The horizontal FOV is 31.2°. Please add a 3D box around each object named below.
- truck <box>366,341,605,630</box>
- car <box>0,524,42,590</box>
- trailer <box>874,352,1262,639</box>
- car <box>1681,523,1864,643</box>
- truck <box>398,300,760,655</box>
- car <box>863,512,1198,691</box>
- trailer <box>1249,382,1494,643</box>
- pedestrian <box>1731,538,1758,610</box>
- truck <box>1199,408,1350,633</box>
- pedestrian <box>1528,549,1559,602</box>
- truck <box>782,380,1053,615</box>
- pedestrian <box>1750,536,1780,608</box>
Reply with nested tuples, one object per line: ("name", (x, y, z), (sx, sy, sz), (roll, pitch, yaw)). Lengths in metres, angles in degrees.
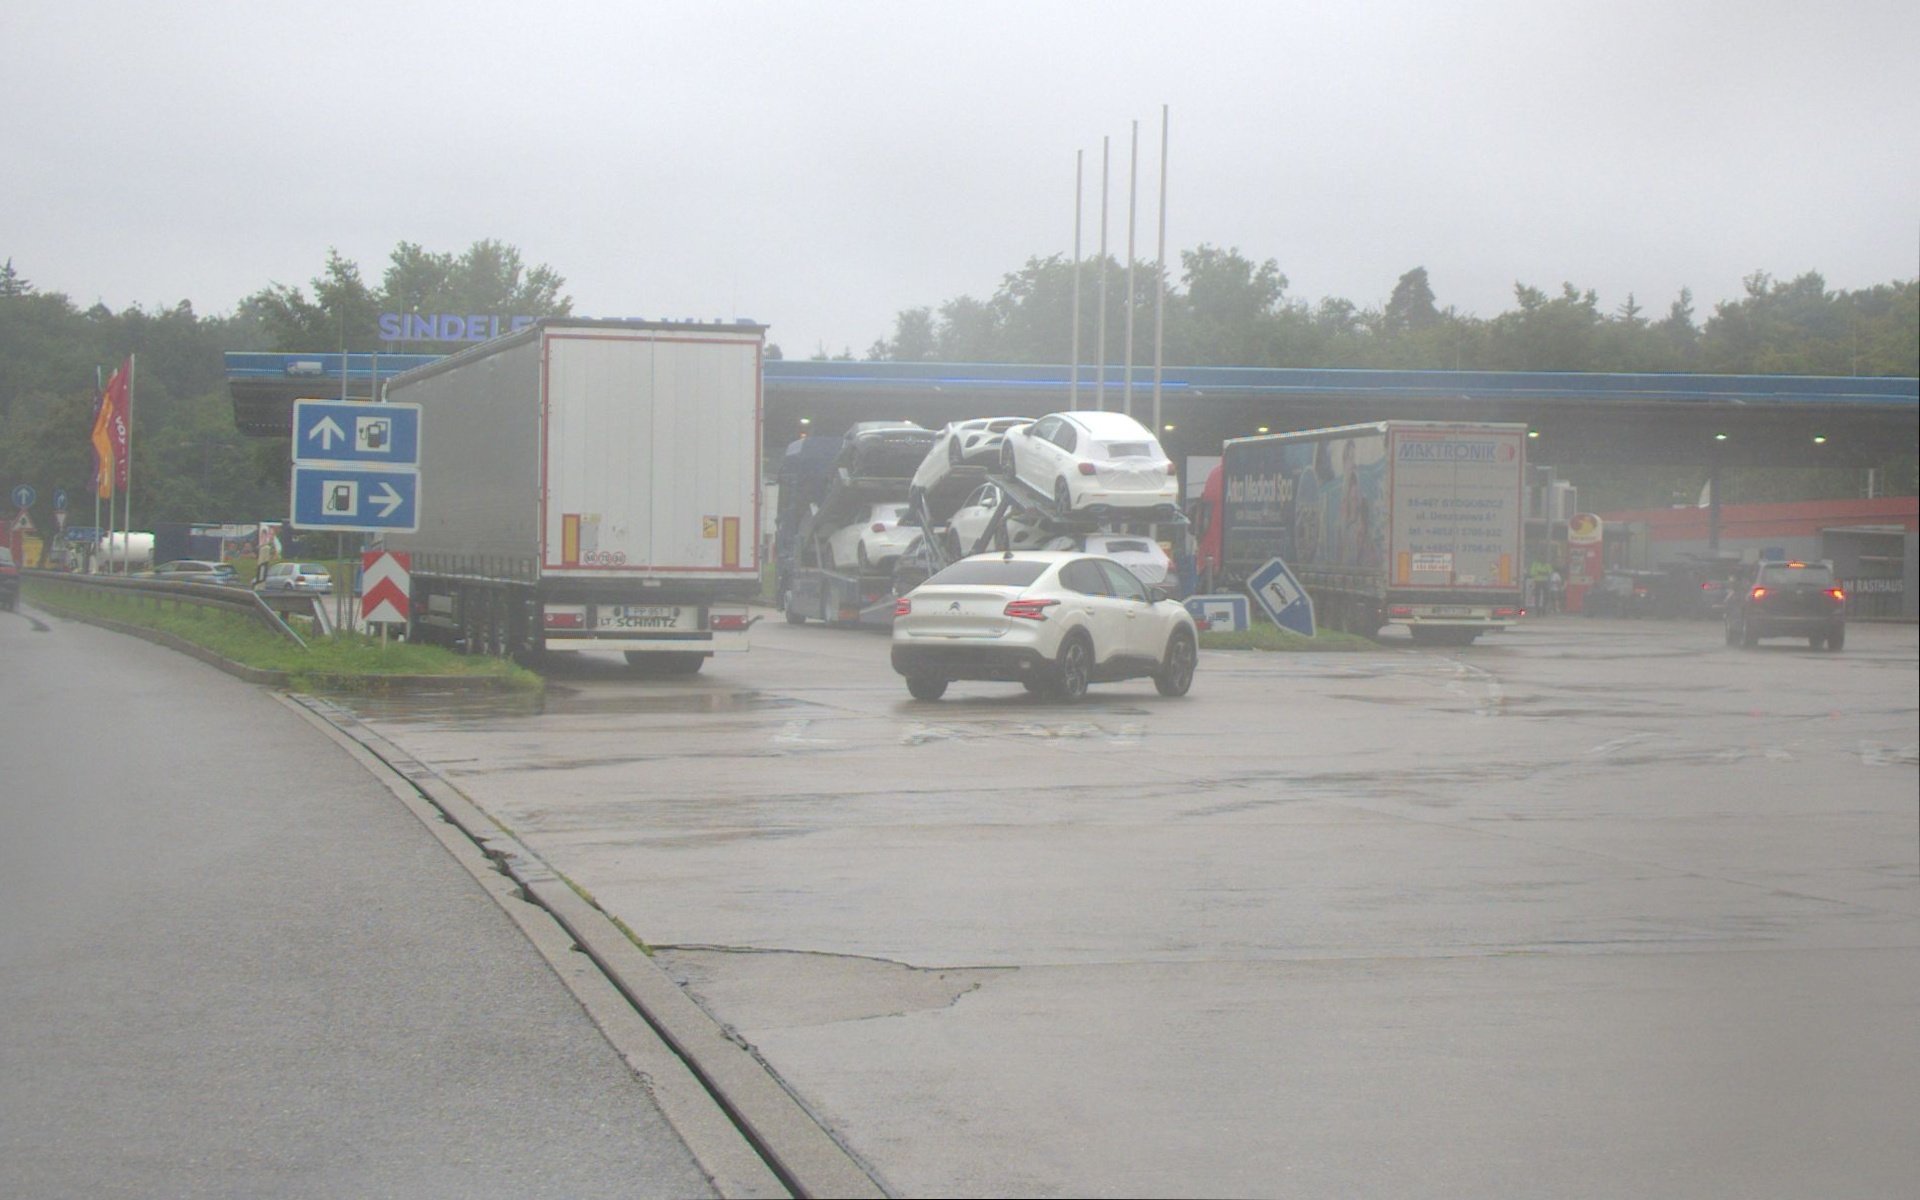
("truck", (-6.983, -1.613, 49.834), (2.370, 3.861, 7.014), (0, 1, -17))
("car", (-22.337, -1.015, 79.228), (1.878, 1.456, 4.001), (2, 0, -9))
("trailer", (1.506, -1.700, 57.218), (3.214, 4.174, 11.533), (2, 1, -14))
("car", (15.155, -0.280, 64.304), (1.993, 2.007, 4.000), (4, -2, -6))
("truck", (-5.150, -1.466, 43.788), (2.370, 3.861, 12.459), (0, 1, -17))
("car", (0.783, -0.009, 34.866), (1.996, 1.673, 3.995), (1, 1, 24))
("trailer", (7.677, -1.585, 65.575), (1.993, 4.544, 9.812), (2, 0, -9))
("pedestrian", (22.639, -0.755, 99.224), (0.586, 2.007, 0.637), (4, -2, 8))
("truck", (6.606, -1.648, 72.793), (1.987, 4.534, 4.796), (2, 0, -8))
("pedestrian", (17.644, -0.746, 103.955), (0.719, 1.516, 0.742), (3, -2, 17))
("truck", (-0.972, -1.965, 66.923), (3.233, 4.174, 8.446), (2, 1, -14))
("pedestrian", (22.970, -0.797, 98.052), (0.670, 2.007, 0.742), (3, -2, 17))
